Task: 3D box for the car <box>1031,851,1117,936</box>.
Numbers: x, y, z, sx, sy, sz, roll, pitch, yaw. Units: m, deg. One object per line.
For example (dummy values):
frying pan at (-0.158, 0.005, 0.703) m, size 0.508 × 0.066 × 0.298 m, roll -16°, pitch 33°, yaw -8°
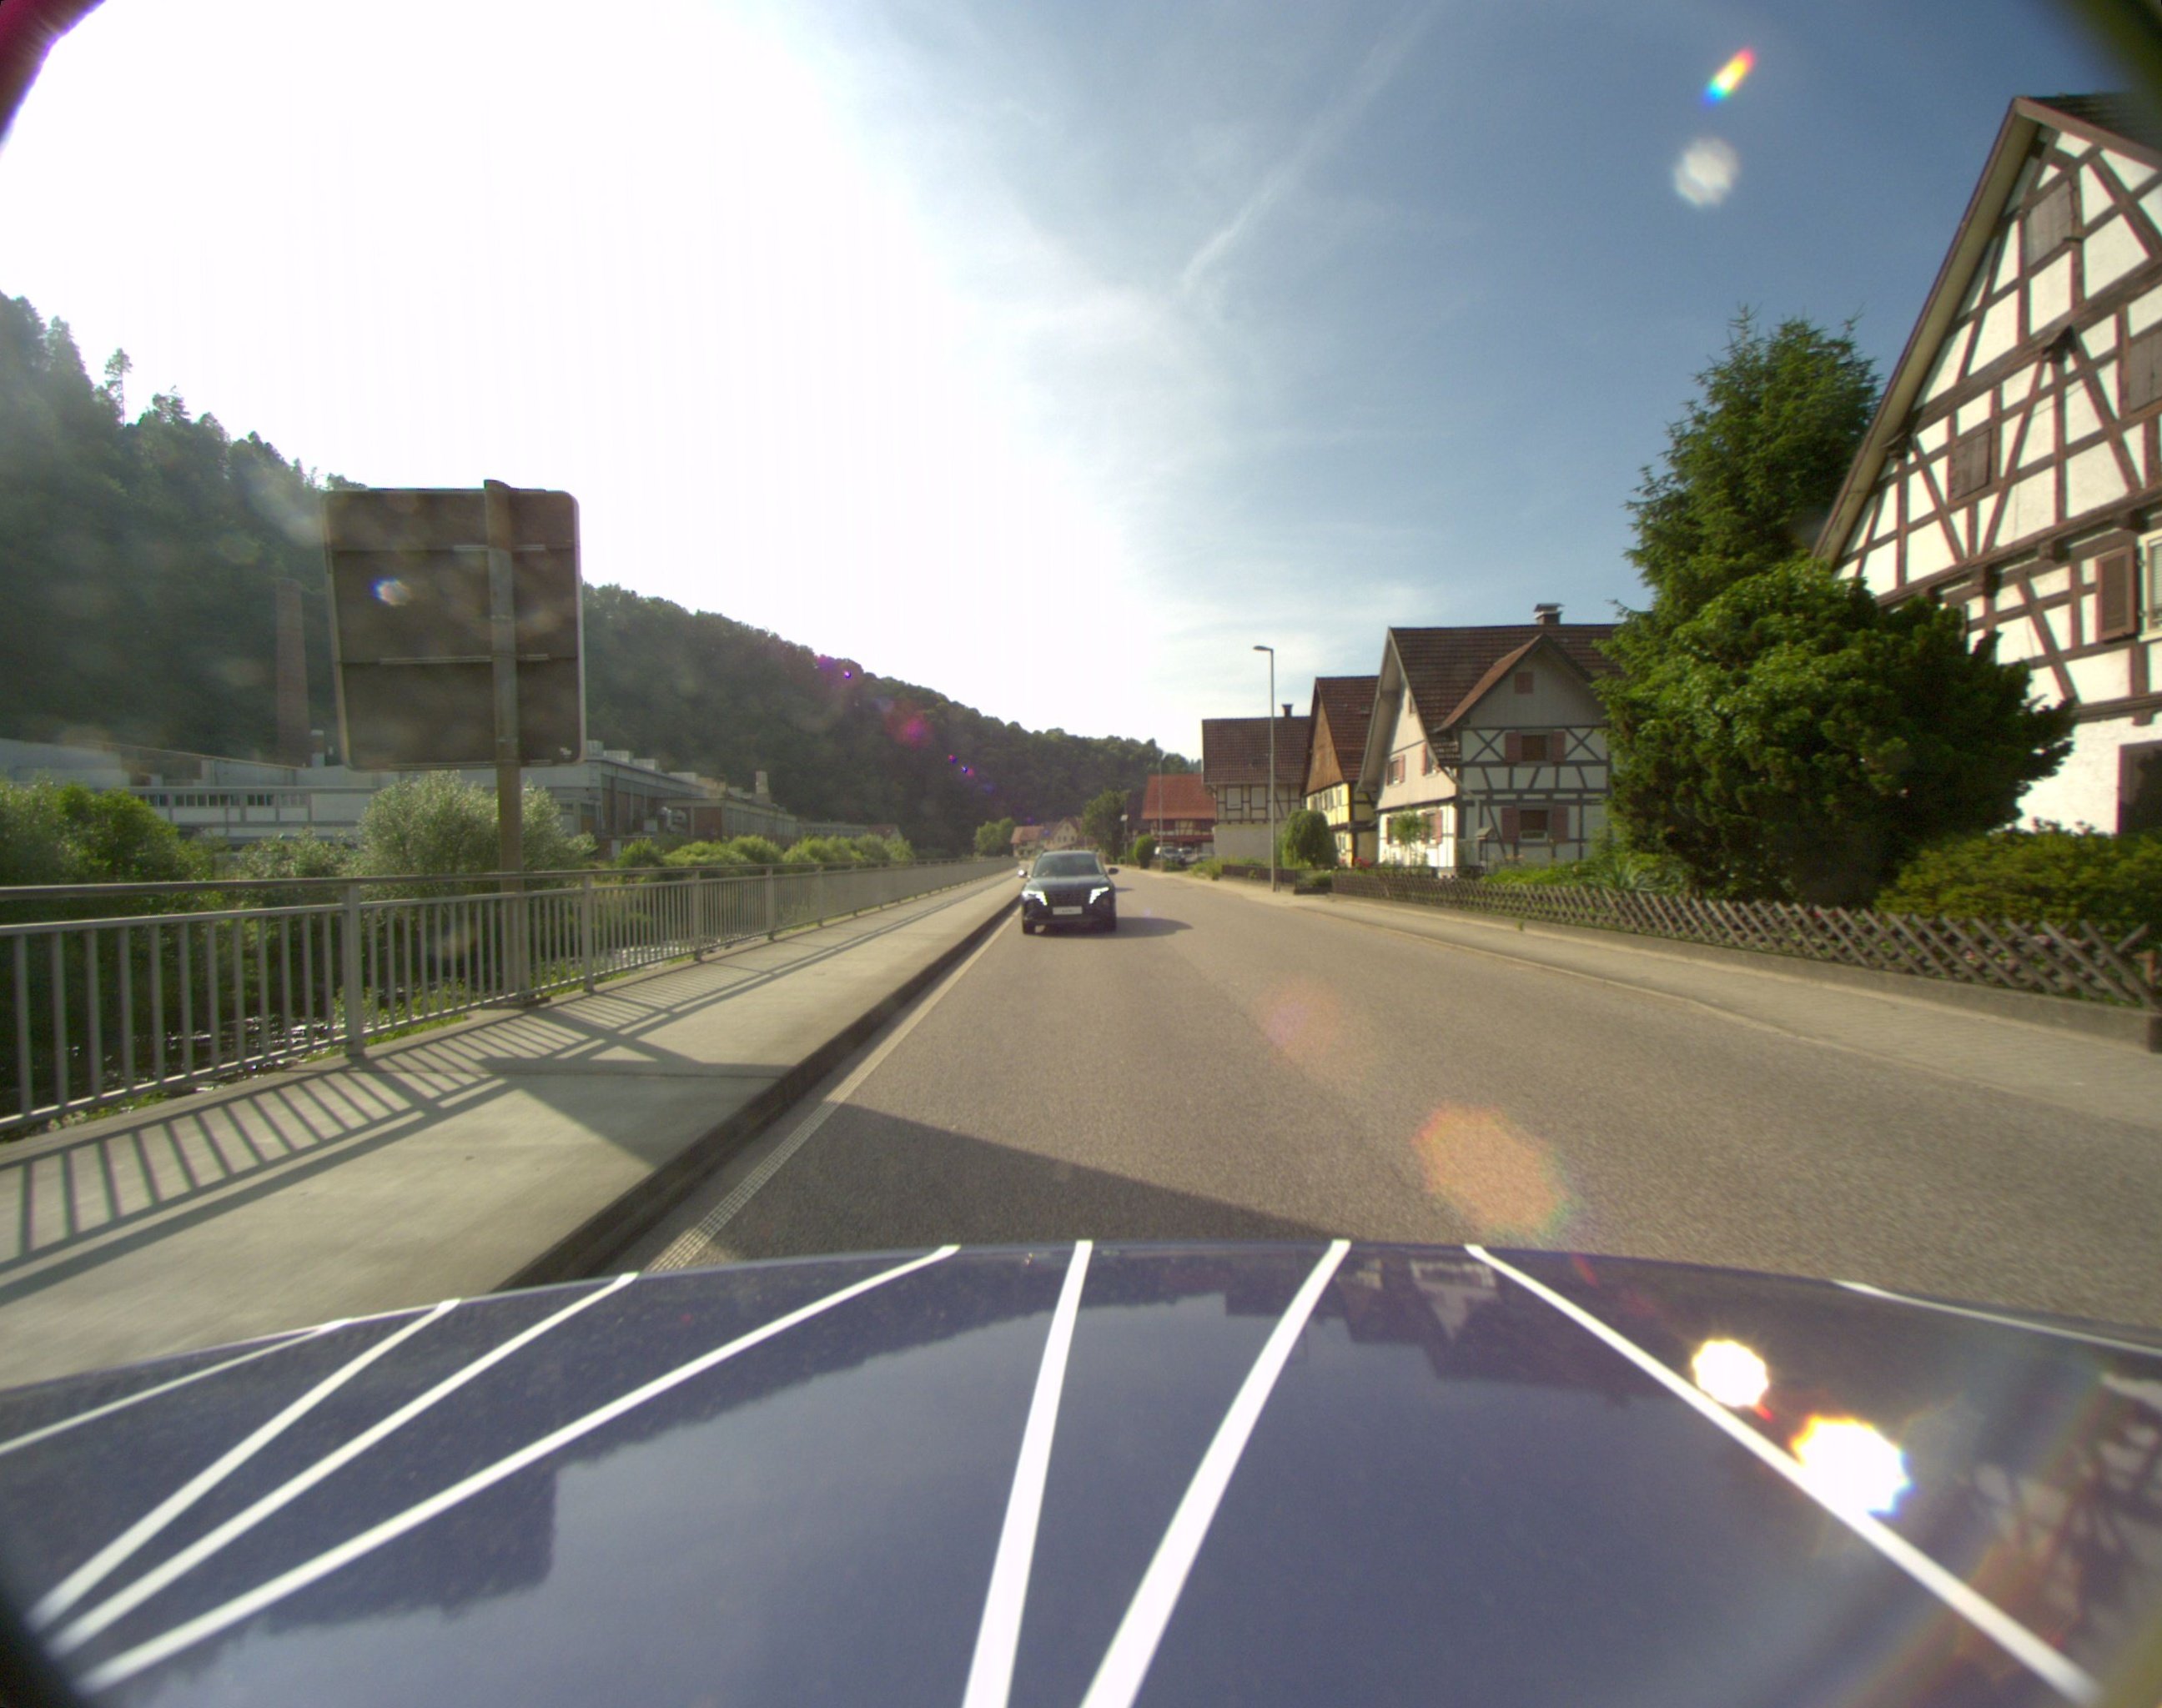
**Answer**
car at (-0.248, 0.790, 17.429) m, size 1.649 × 1.639 × 3.998 m, roll -3°, pitch 0°, yaw -3°
